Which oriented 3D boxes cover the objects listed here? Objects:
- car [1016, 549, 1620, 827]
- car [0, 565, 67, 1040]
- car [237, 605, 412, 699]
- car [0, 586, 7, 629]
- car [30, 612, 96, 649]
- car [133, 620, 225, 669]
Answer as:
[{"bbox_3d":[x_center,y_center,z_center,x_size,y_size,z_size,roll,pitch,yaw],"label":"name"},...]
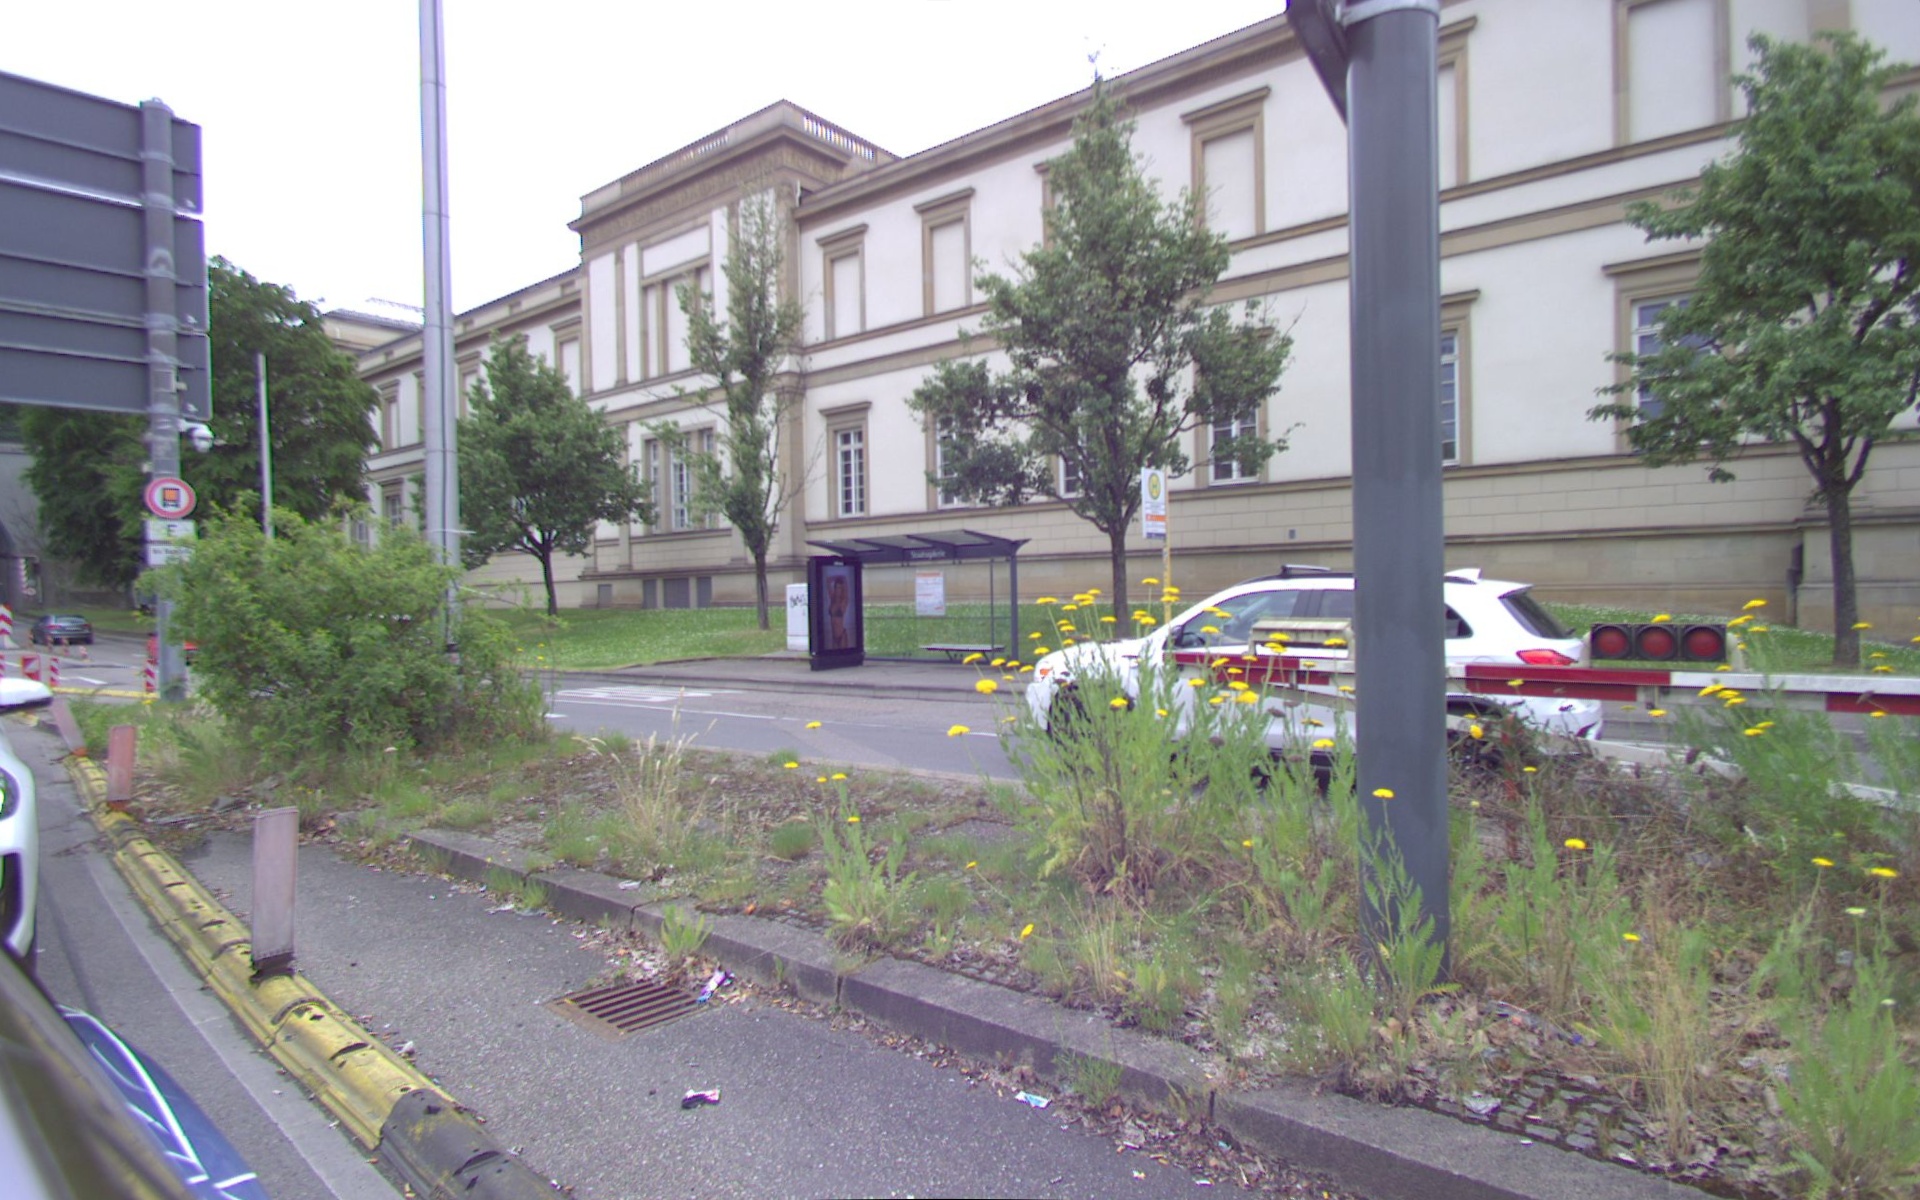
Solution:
[{"bbox_3d":[2.680,0.567,7.924,4.098,1.637,1.882,-2,-1,35],"label":"car"},{"bbox_3d":[-5.219,0.721,4.088,3.668,1.637,1.962,-1,0,41],"label":"car"},{"bbox_3d":[-13.168,0.995,20.881,4.265,1.704,1.851,-1,0,40],"label":"car"},{"bbox_3d":[-58.296,0.485,60.099,4.758,2.527,2.174,-1,0,43],"label":"car"},{"bbox_3d":[-41.542,1.382,46.859,3.800,1.630,1.756,-1,0,40],"label":"car"},{"bbox_3d":[-25.898,1.448,33.526,3.570,1.489,1.626,-1,-1,39],"label":"car"}]
